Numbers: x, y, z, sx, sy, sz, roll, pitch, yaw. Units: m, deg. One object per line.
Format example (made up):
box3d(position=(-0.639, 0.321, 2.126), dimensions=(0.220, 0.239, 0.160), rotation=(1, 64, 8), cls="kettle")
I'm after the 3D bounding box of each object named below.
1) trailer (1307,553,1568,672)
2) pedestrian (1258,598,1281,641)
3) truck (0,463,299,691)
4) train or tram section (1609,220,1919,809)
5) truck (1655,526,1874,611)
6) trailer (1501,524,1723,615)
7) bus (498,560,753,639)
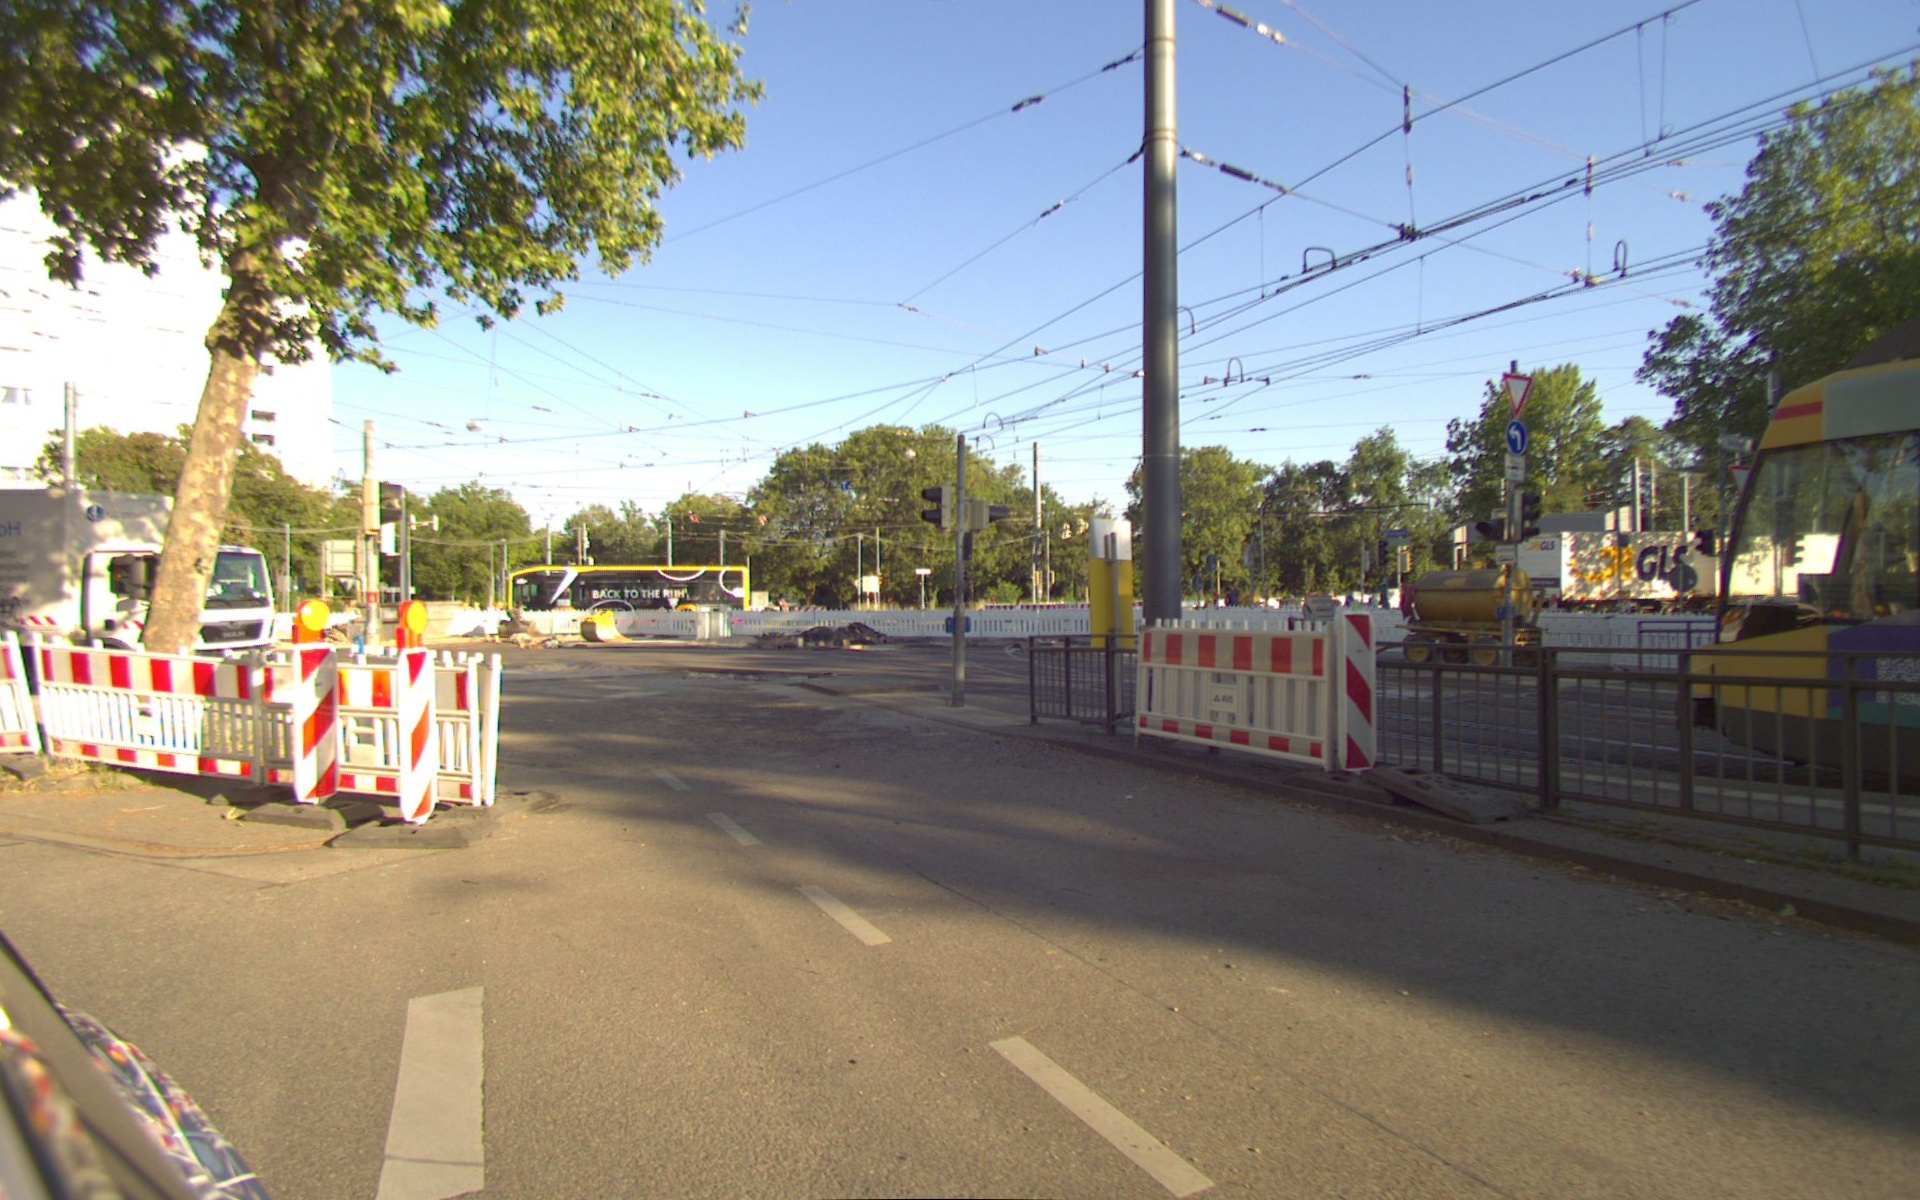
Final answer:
box3d(position=(9.505, 0.242, 20.493), dimensions=(1.966, 2.131, 4.358), rotation=(-1, 0, -33), cls="trailer")
box3d(position=(11.368, 0.716, 37.186), dimensions=(0.583, 1.526, 0.576), rotation=(0, 3, -6), cls="pedestrian")
box3d(position=(-16.844, -0.311, 17.766), dimensions=(8.867, 3.568, 2.818), rotation=(-1, 0, 4), cls="truck")
box3d(position=(9.204, -0.533, 2.355), dimensions=(2.809, 3.559, 13.440), rotation=(0, 0, -26), cls="train or tram section")
box3d(position=(38.295, -1.443, 48.140), dimensions=(10.254, 3.818, 2.910), rotation=(-1, 0, -18), cls="truck")
box3d(position=(29.088, -1.322, 45.182), dimensions=(9.090, 3.826, 2.904), rotation=(-1, 0, -15), cls="trailer")
box3d(position=(-17.039, -0.080, 52.016), dimensions=(12.088, 3.751, 3.098), rotation=(-1, 0, -26), cls="bus")
